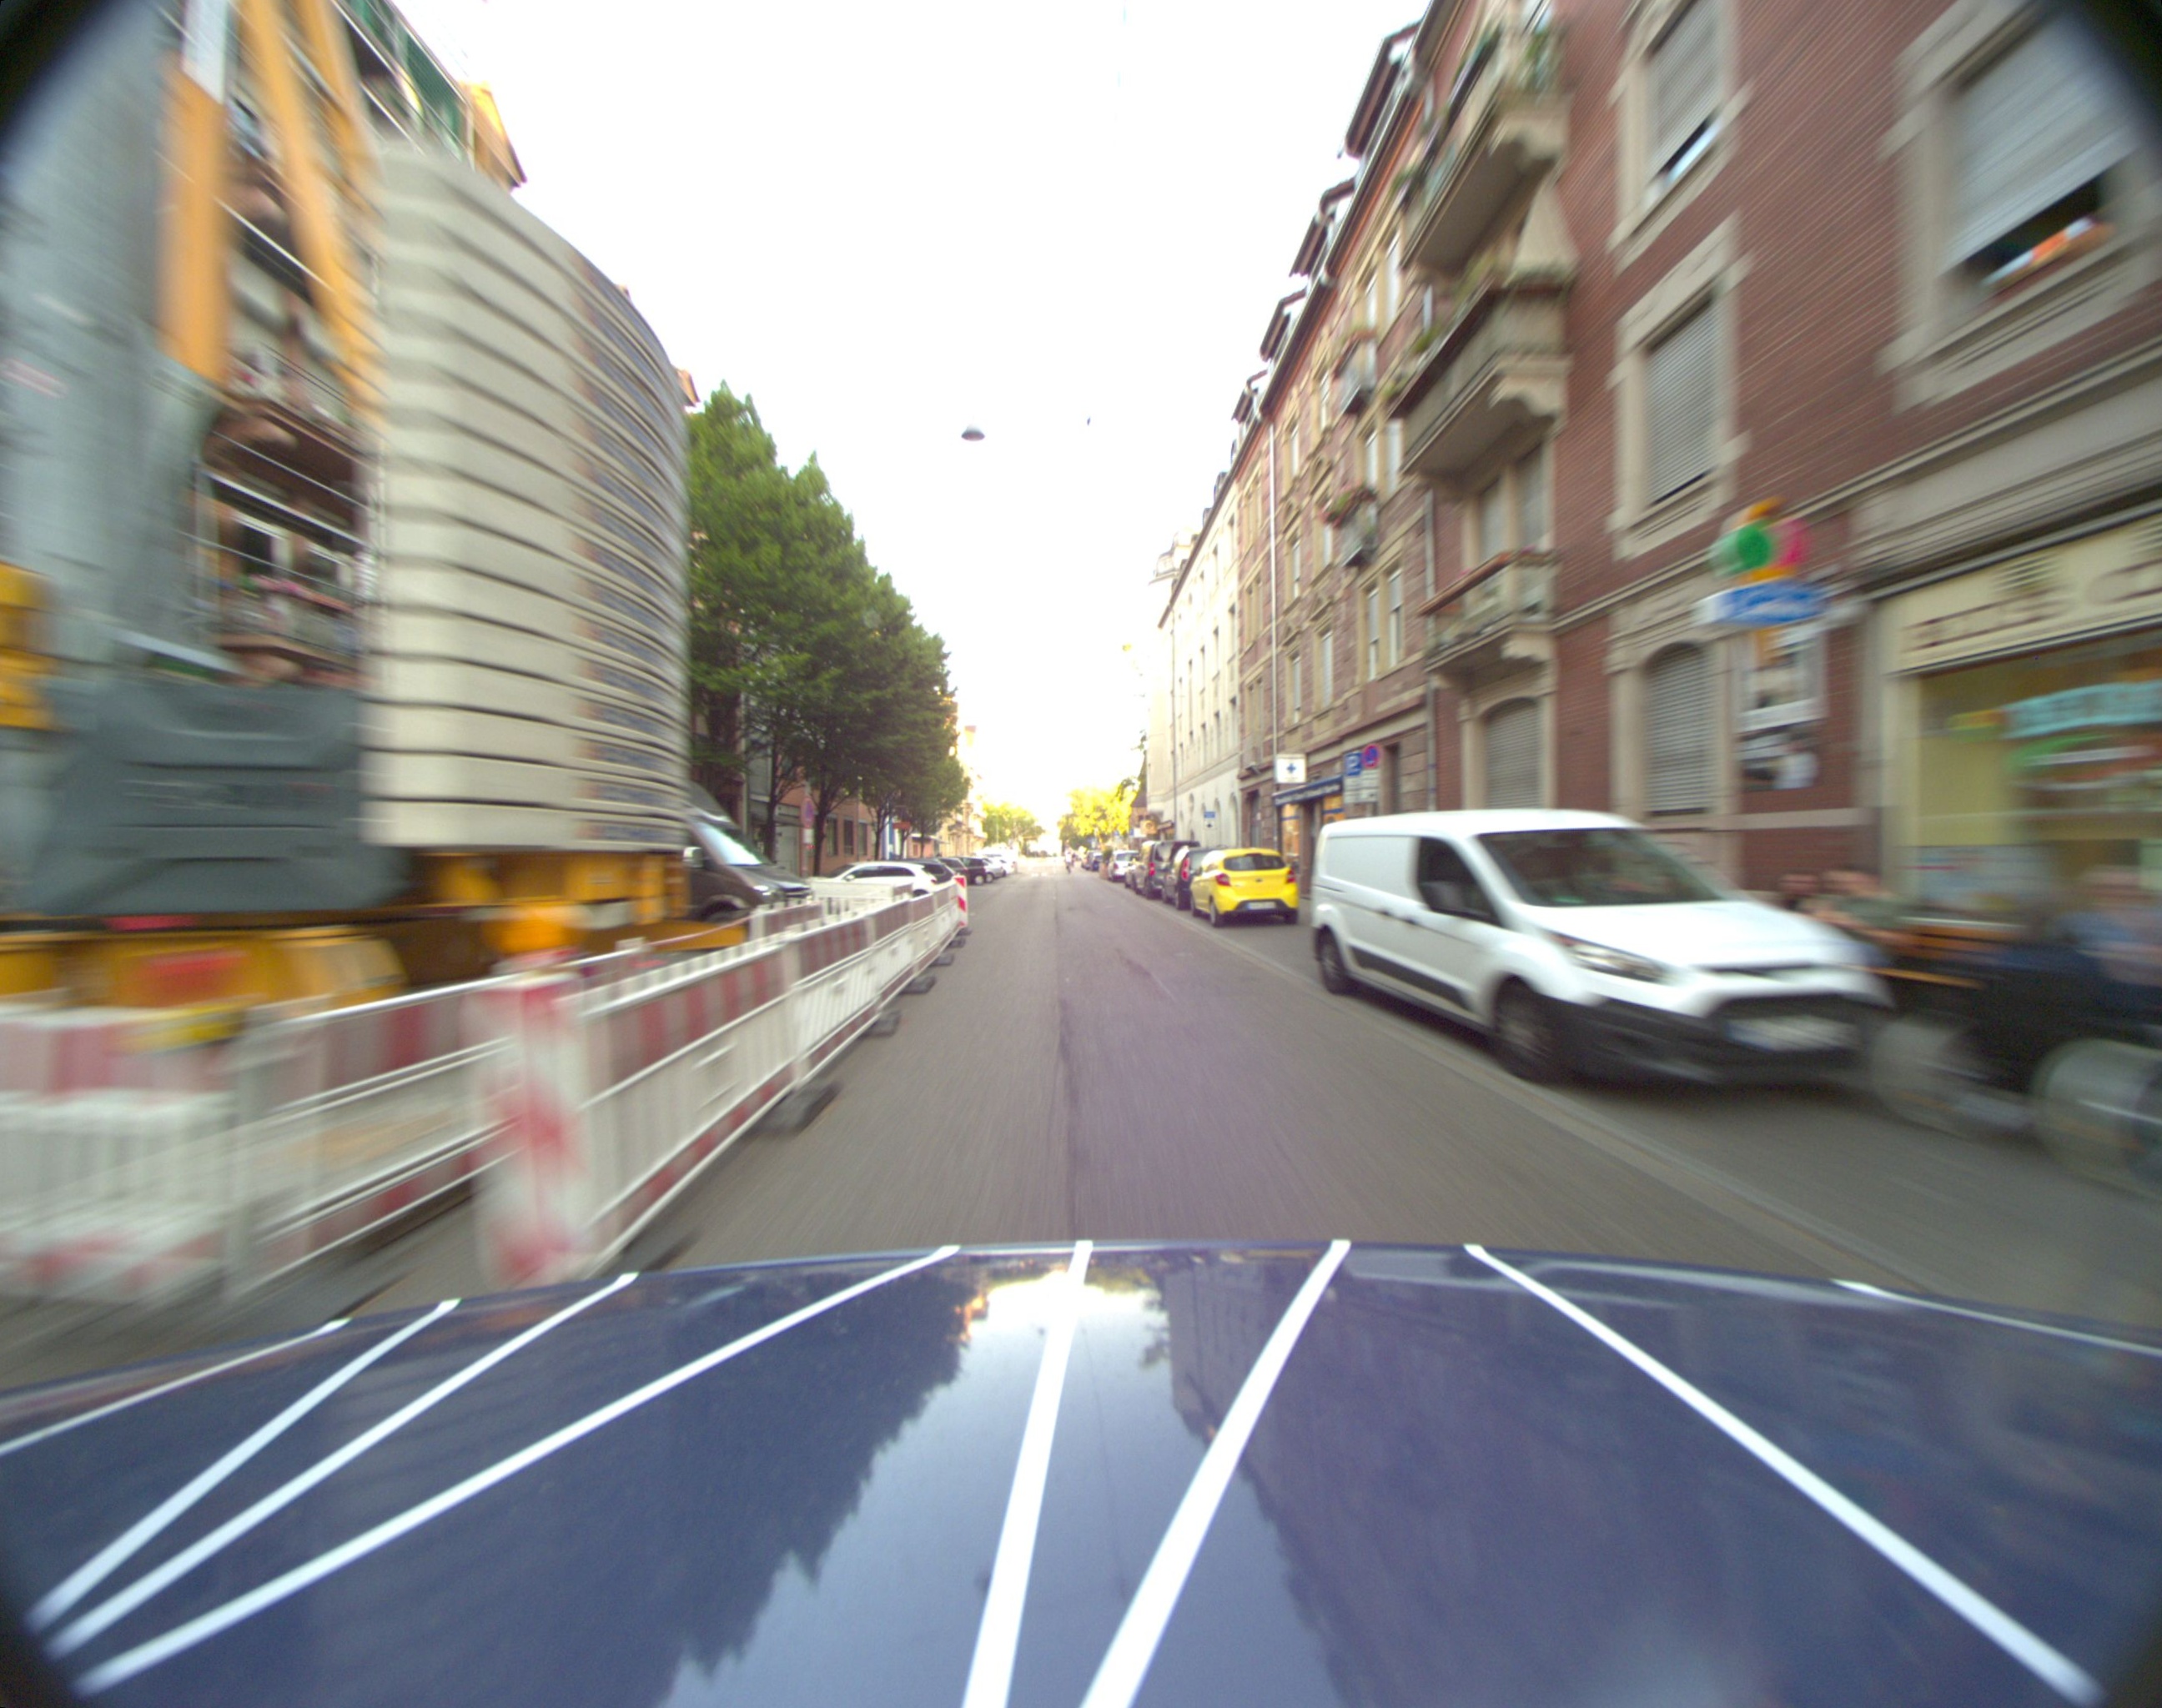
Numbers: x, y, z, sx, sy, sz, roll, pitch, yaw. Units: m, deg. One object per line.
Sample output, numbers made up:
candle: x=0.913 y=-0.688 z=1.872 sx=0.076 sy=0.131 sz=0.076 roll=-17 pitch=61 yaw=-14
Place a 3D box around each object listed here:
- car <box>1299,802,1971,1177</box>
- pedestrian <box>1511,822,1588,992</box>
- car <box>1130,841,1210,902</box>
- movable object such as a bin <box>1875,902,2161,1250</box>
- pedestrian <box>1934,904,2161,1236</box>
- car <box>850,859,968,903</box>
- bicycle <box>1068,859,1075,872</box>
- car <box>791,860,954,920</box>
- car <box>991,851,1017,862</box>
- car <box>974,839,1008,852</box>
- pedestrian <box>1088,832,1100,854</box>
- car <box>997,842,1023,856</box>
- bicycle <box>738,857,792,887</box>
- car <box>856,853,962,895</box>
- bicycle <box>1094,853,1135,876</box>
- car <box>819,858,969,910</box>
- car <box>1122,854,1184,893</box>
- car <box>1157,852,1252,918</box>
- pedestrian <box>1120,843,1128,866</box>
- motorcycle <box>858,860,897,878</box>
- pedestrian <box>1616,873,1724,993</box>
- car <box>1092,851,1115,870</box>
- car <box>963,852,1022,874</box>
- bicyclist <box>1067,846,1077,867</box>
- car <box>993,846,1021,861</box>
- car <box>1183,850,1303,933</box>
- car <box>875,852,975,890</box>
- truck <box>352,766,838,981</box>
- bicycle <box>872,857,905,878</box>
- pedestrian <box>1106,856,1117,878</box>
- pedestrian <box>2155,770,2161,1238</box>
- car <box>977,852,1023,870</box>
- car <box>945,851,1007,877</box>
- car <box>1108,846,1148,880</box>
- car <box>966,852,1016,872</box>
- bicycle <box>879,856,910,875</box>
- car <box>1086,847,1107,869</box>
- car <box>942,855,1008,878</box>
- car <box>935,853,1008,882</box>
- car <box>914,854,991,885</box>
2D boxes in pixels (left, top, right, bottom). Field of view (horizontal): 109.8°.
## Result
car: x=3.420 y=0.625 z=6.024 sx=1.775 sy=1.778 sz=4.585 roll=-2 pitch=1 yaw=-4
pedestrian: x=4.932 y=0.534 z=8.032 sx=0.619 sy=1.720 sz=0.586 roll=-1 pitch=2 yaw=26
car: x=2.916 y=0.534 z=26.093 sx=1.932 sy=1.872 sz=4.903 roll=-1 pitch=0 yaw=-3
movable object such as a bin: x=4.294 y=0.874 z=3.293 sx=0.890 sy=1.244 sz=0.776 roll=-2 pitch=1 yaw=-1
pedestrian: x=4.326 y=0.873 z=3.312 sx=0.479 sy=1.244 sz=0.652 roll=-2 pitch=1 yaw=-1
car: x=-6.093 y=0.937 z=27.008 sx=3.639 sy=1.412 sz=1.826 roll=1 pitch=0 yaw=-33
bicycle: x=-0.744 y=0.900 z=60.992 sx=0.477 sy=0.938 sz=1.895 roll=-2 pitch=1 yaw=-3
car: x=-5.721 y=0.950 z=21.047 sx=4.003 sy=1.479 sz=1.680 roll=1 pitch=0 yaw=-36
car: x=-12.083 y=0.385 z=119.421 sx=3.842 sy=1.510 sz=1.673 roll=1 pitch=1 yaw=-37
car: x=-11.419 y=-1.096 z=96.305 sx=3.841 sy=1.510 sz=1.673 roll=1 pitch=1 yaw=-30
pedestrian: x=1.636 y=-1.380 z=96.823 sx=1.445 sy=2.725 sz=1.011 roll=-2 pitch=1 yaw=-3
car: x=-12.257 y=-0.886 z=130.970 sx=4.202 sy=2.246 sz=1.673 roll=1 pitch=1 yaw=-37
bicycle: x=-13.091 y=0.746 z=31.560 sx=2.025 sy=1.158 sz=0.579 roll=2 pitch=0 yaw=-20
car: x=-6.632 y=0.773 z=29.369 sx=3.638 sy=1.508 sz=1.621 roll=1 pitch=0 yaw=-30
bicycle: x=2.262 y=0.699 z=50.998 sx=2.619 sy=1.390 sz=0.601 roll=-2 pitch=1 yaw=11
car: x=-5.858 y=0.922 z=24.029 sx=4.179 sy=1.479 sz=1.826 roll=1 pitch=0 yaw=-38
car: x=2.901 y=0.755 z=31.478 sx=1.932 sy=1.422 sz=4.480 roll=-1 pitch=0 yaw=-3
car: x=3.270 y=0.759 z=20.857 sx=1.932 sy=1.587 sz=3.969 roll=-1 pitch=0 yaw=0
pedestrian: x=3.372 y=0.021 z=59.452 sx=0.566 sy=1.723 sz=0.562 roll=-2 pitch=1 yaw=-3
motorcycle: x=-11.163 y=0.814 z=41.647 sx=1.984 sy=0.920 sz=0.591 roll=3 pitch=1 yaw=11
pedestrian: x=5.972 y=0.779 z=7.729 sx=0.633 sy=1.133 sz=0.573 roll=-2 pitch=1 yaw=-4
car: x=1.914 y=0.558 z=66.487 sx=1.786 sy=1.538 sz=3.999 roll=-2 pitch=1 yaw=0
car: x=-6.399 y=0.671 z=55.146 sx=3.842 sy=1.510 sz=1.673 roll=1 pitch=1 yaw=-34
bicyclist: x=-0.723 y=0.201 z=60.785 sx=0.624 sy=1.682 sz=1.003 roll=-2 pitch=1 yaw=-3
car: x=-11.937 y=-0.054 z=122.547 sx=4.202 sy=2.280 sz=1.673 roll=1 pitch=1 yaw=-41
car: x=3.297 y=0.702 z=16.174 sx=1.709 sy=1.521 sz=3.792 roll=-1 pitch=0 yaw=0
car: x=-6.624 y=0.729 z=32.428 sx=3.807 sy=1.508 sz=1.646 roll=1 pitch=0 yaw=-34
truck: x=-7.848 y=0.290 z=12.885 sx=6.496 sy=3.059 sz=2.524 roll=-2 pitch=1 yaw=1
bicycle: x=-11.222 y=0.784 z=44.439 sx=1.770 sy=1.094 sz=0.546 roll=3 pitch=1 yaw=-9
pedestrian: x=1.797 y=0.778 z=45.411 sx=0.571 sy=1.315 sz=0.496 roll=-2 pitch=1 yaw=-3
pedestrian: x=4.499 y=0.574 z=2.628 sx=0.600 sy=1.804 sz=0.720 roll=-2 pitch=1 yaw=-10
car: x=-7.247 y=0.609 z=67.926 sx=3.838 sy=1.510 sz=1.675 roll=2 pitch=1 yaw=-18
car: x=-7.162 y=0.681 z=51.949 sx=3.841 sy=1.639 sz=1.673 roll=1 pitch=1 yaw=-29
car: x=2.461 y=0.457 z=40.558 sx=1.730 sy=1.638 sz=3.915 roll=-2 pitch=0 yaw=-2
car: x=-7.454 y=0.696 z=62.911 sx=3.838 sy=1.510 sz=1.675 roll=2 pitch=1 yaw=-18
bicycle: x=-11.656 y=0.736 z=47.430 sx=1.770 sy=1.094 sz=0.546 roll=3 pitch=1 yaw=-9
car: x=1.447 y=0.332 z=71.449 sx=1.786 sy=1.860 sz=4.456 roll=-2 pitch=1 yaw=0
car: x=-6.834 y=0.810 z=49.231 sx=3.842 sy=1.422 sz=1.673 roll=1 pitch=1 yaw=-32
car: x=-6.341 y=0.800 z=44.078 sx=3.842 sy=1.556 sz=1.673 roll=1 pitch=1 yaw=-32
car: x=-6.985 y=0.822 z=41.344 sx=3.840 sy=1.556 sz=1.674 roll=2 pitch=1 yaw=-23
